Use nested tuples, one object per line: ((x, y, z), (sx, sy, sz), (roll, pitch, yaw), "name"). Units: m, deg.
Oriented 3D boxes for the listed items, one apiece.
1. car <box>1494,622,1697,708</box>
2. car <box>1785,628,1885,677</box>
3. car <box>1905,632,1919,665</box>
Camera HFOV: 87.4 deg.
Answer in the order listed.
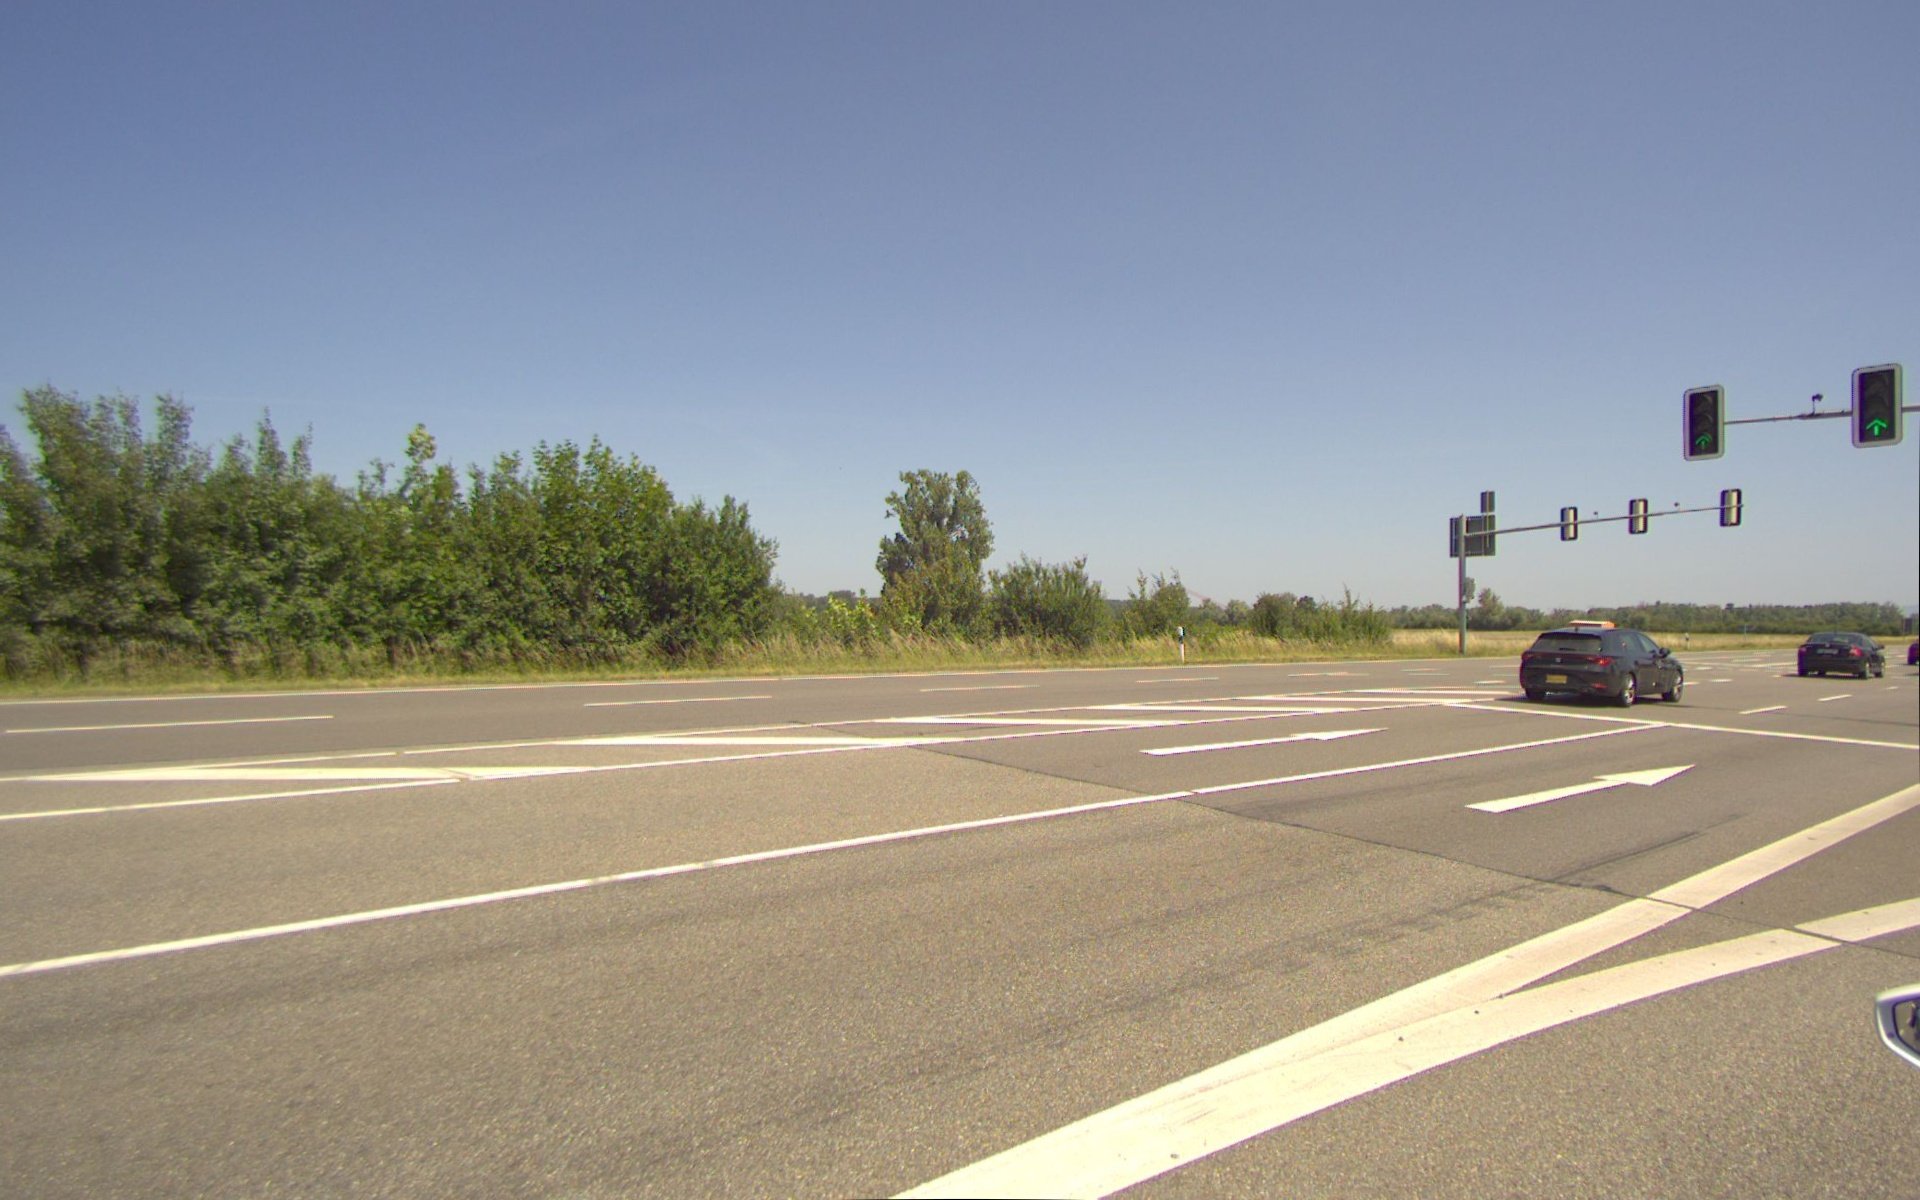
((12.544, 1.232, 19.738), (4.483, 1.466, 1.875), (2, -1, -37), "car")
((28.382, 1.683, 32.535), (4.428, 1.430, 1.661), (2, -1, -39), "car")
((45.310, 2.243, 46.477), (4.527, 1.440, 1.735), (1, 0, -39), "car")
